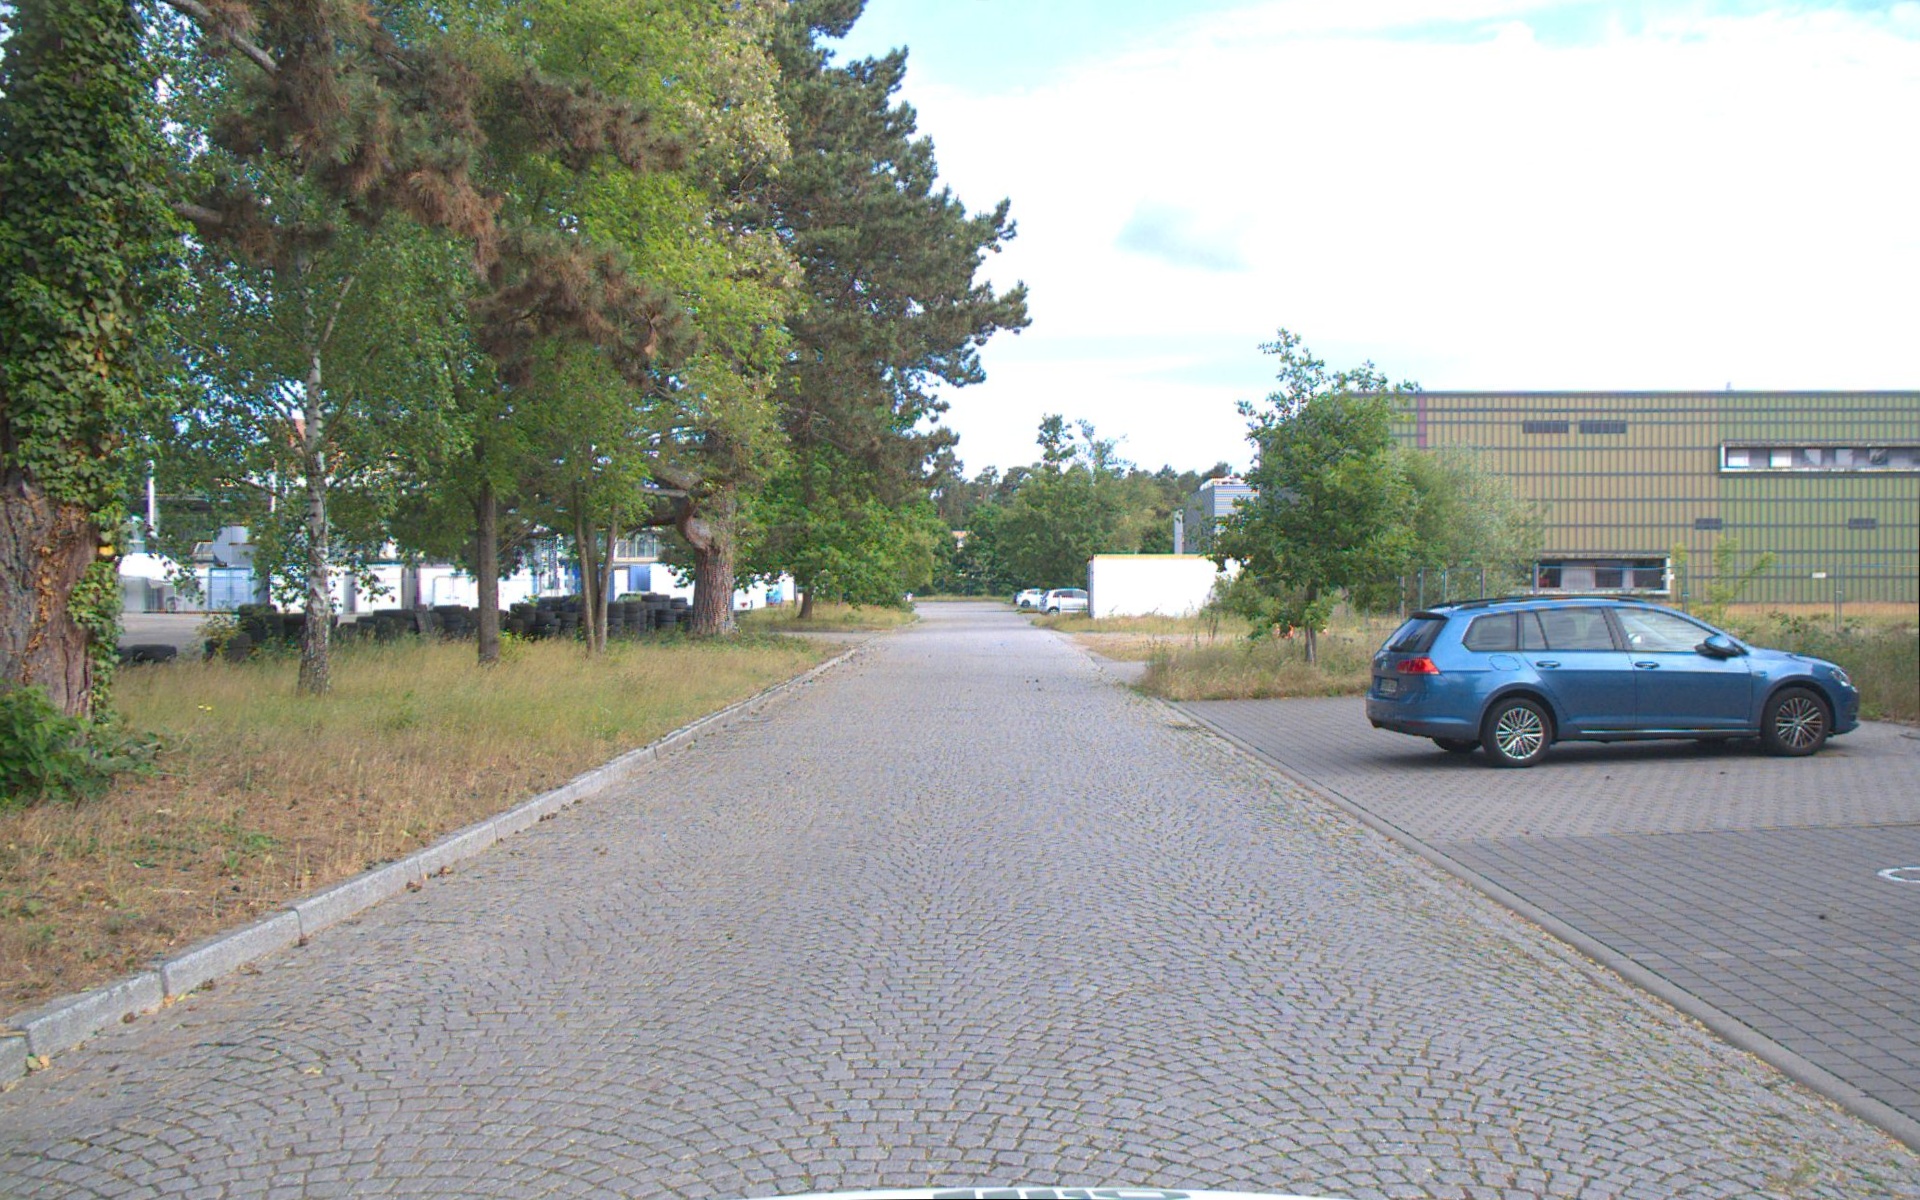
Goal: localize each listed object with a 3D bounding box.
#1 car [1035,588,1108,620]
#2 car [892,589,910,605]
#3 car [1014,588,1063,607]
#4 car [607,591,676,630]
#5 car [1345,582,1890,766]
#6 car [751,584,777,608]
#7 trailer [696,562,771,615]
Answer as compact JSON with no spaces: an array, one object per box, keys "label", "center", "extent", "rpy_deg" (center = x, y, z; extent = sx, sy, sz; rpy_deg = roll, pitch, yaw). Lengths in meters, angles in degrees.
[{"label":"car","center":[6.019,0.193,89.239],"extent":[3.772,1.683,1.685],"rpy_deg":[0,0,-3]},{"label":"car","center":[-5.807,-0.271,163.823],"extent":[1.767,1.561,3.998],"rpy_deg":[0,0,-2]},{"label":"car","center":[6.439,-0.168,135.392],"extent":[3.942,1.528,1.548],"rpy_deg":[0,0,1]},{"label":"car","center":[-12.382,0.391,64.484],"extent":[1.729,1.478,3.490],"rpy_deg":[0,0,6]},{"label":"car","center":[6.116,0.649,15.711],"extent":[4.432,1.468,1.822],"rpy_deg":[-2,0,-3]},{"label":"car","center":[-16.895,-0.352,142.673],"extent":[1.886,2.083,4.598],"rpy_deg":[0,0,-2]},{"label":"trailer","center":[-13.849,-0.726,101.937],"extent":[3.093,3.121,8.787],"rpy_deg":[0,0,2]}]
